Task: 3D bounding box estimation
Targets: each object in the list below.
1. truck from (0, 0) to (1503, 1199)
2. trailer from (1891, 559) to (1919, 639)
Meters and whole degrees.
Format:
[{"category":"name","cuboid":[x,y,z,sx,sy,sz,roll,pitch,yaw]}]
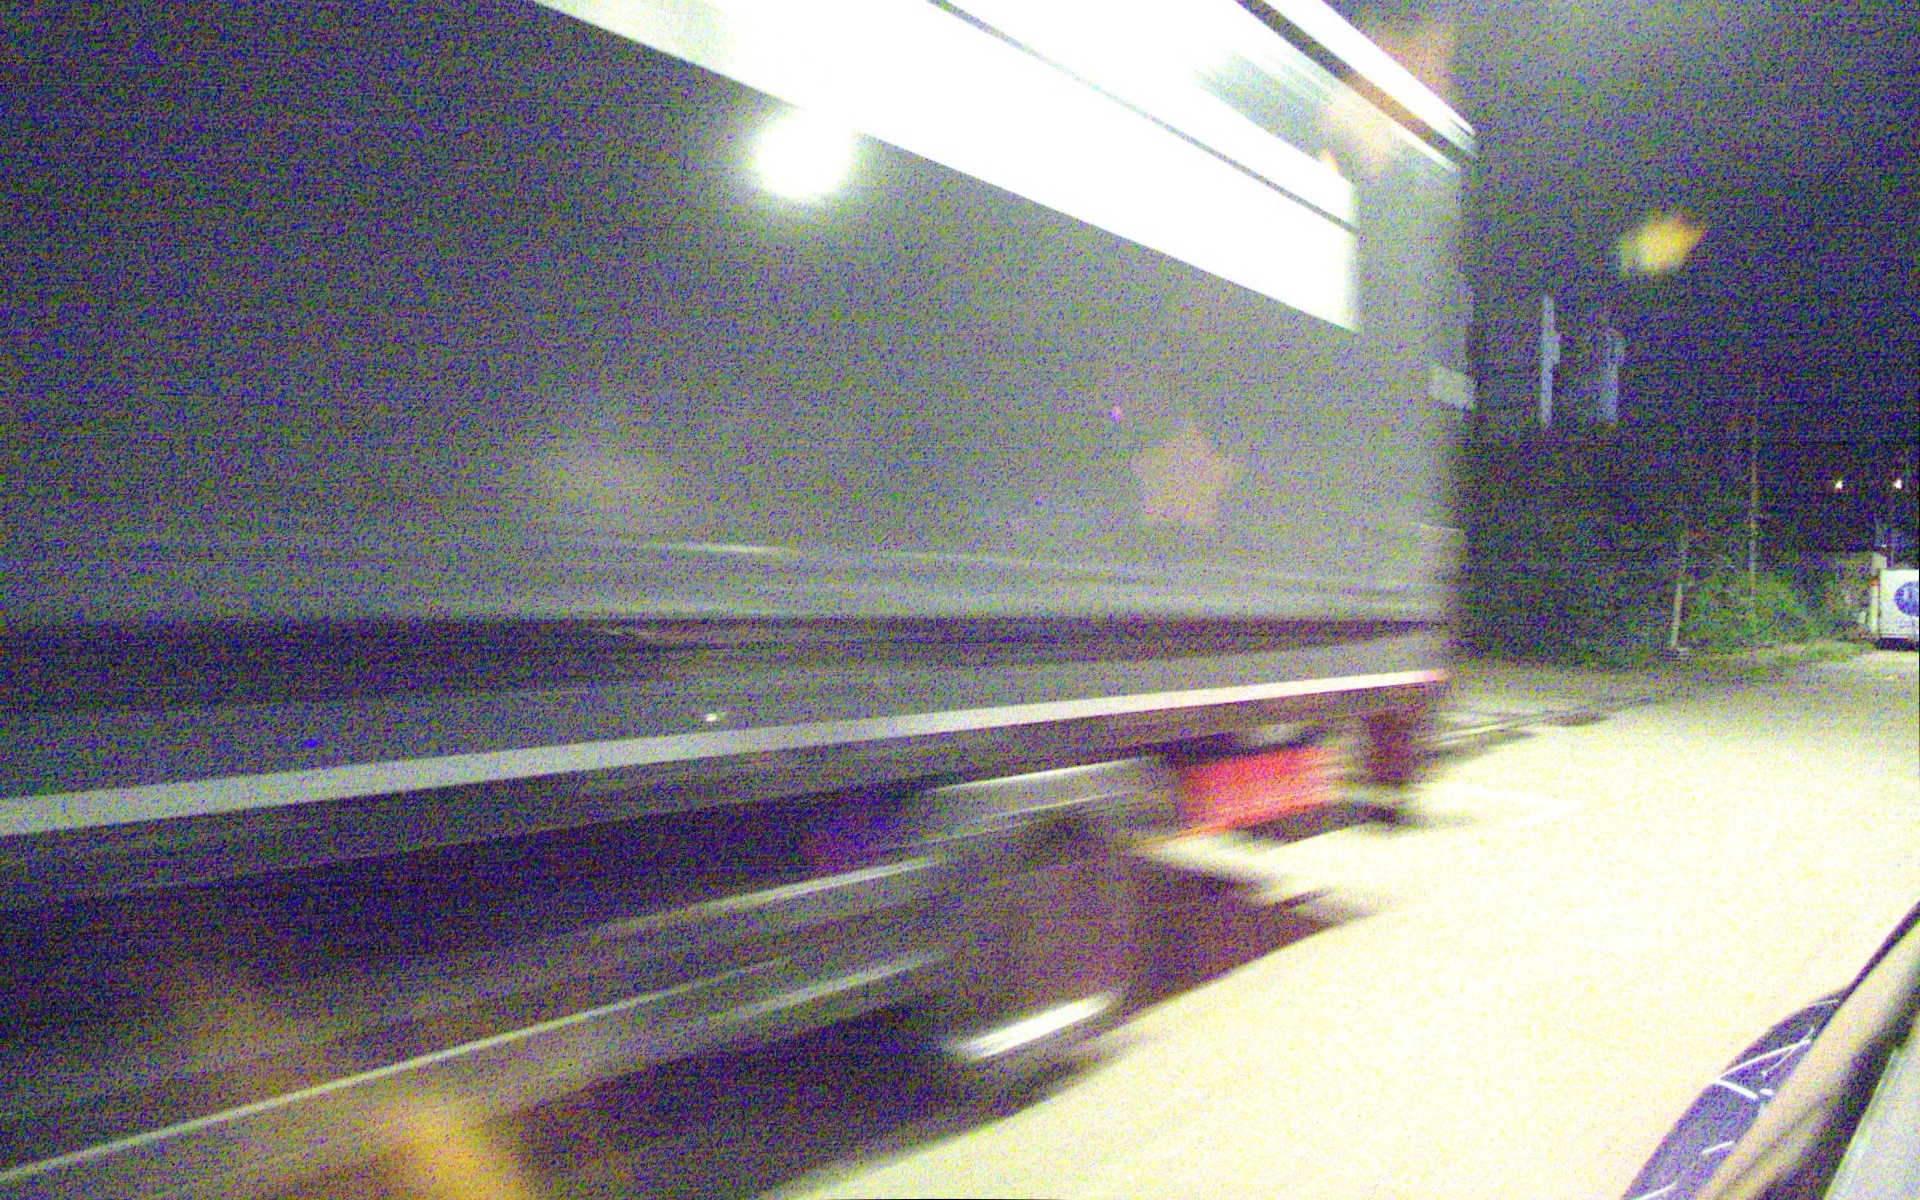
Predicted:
[{"category":"truck","cuboid":[-1.902,-0.543,3.064,9.167,3.917,3.329,0,1,-42]},{"category":"trailer","cuboid":[33.940,-0.015,34.994,3.927,2.684,1.998,1,0,-39]}]
